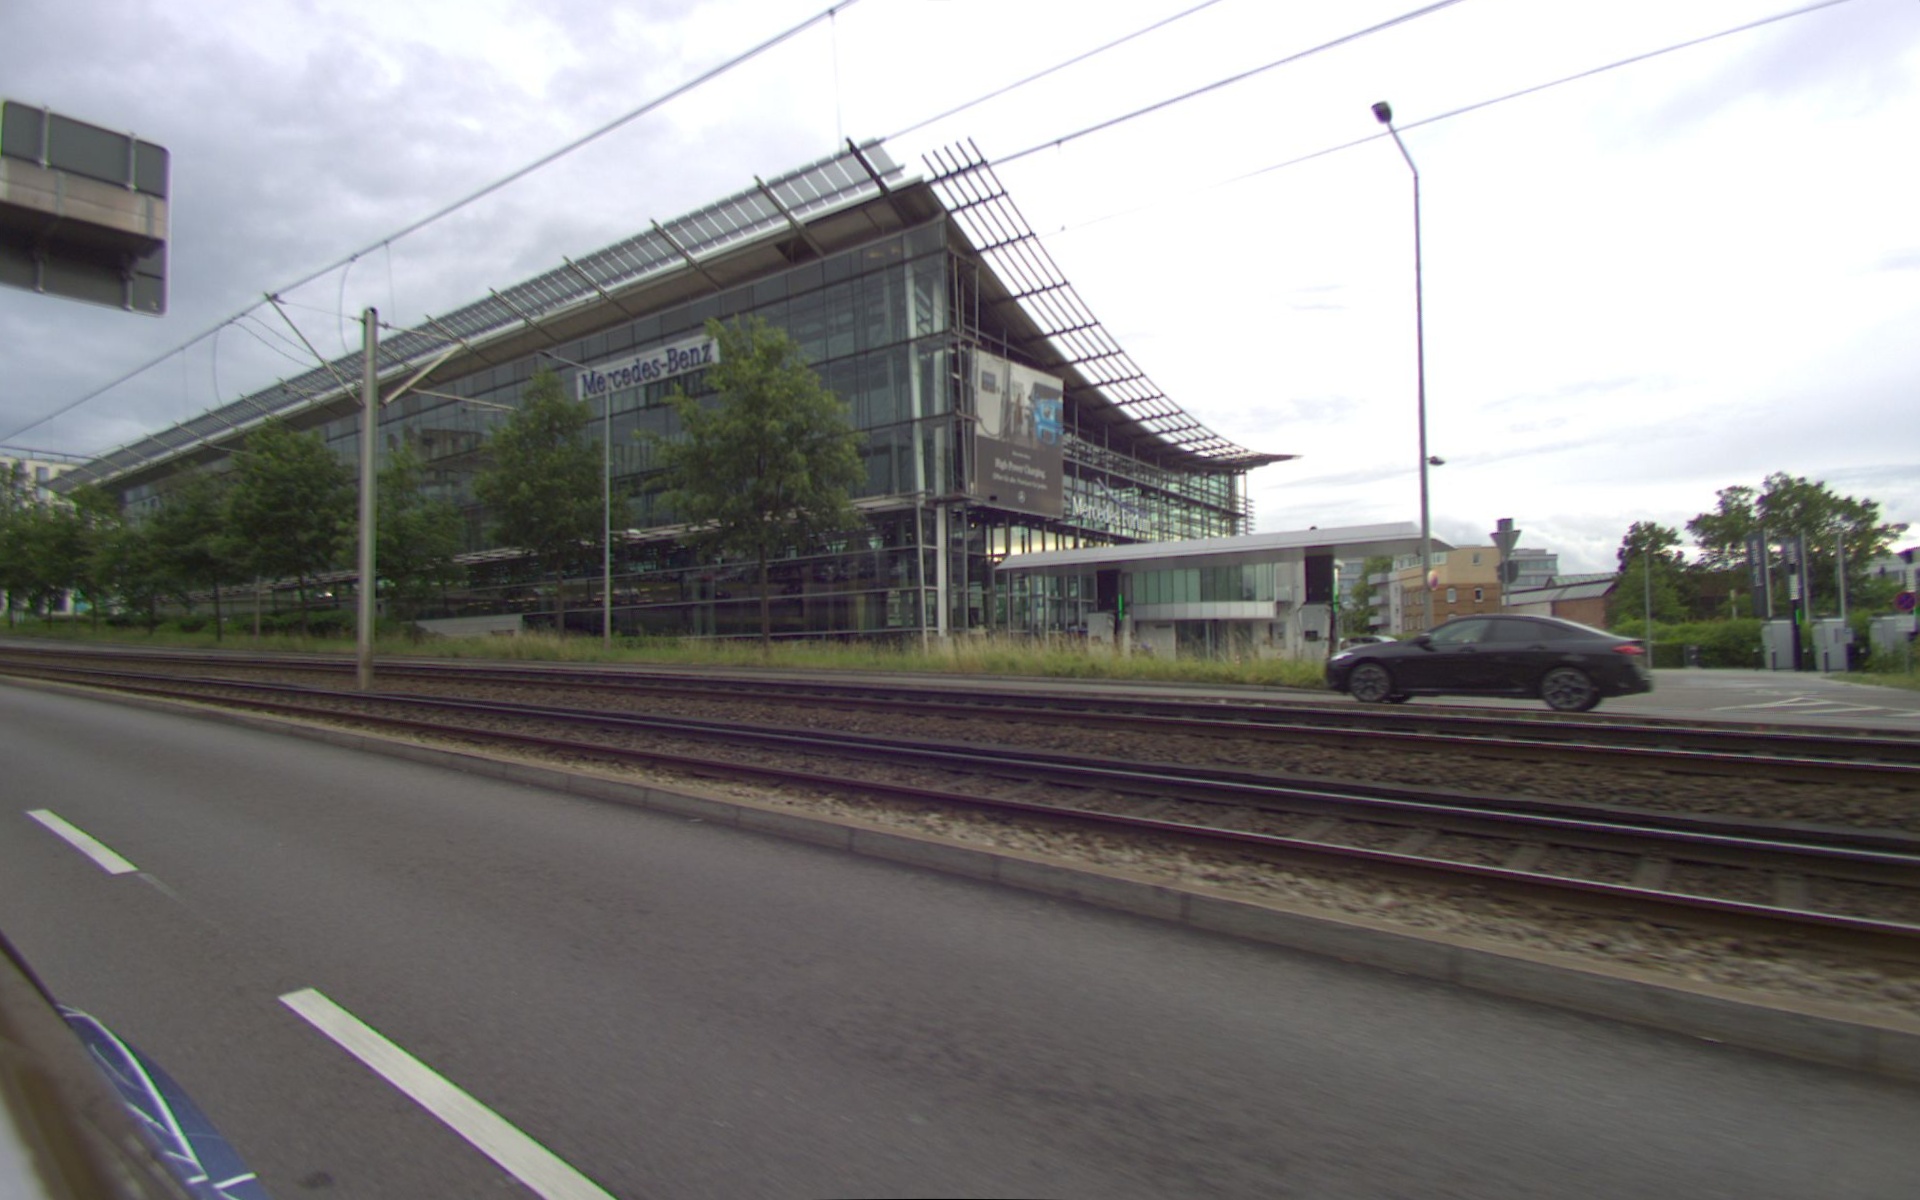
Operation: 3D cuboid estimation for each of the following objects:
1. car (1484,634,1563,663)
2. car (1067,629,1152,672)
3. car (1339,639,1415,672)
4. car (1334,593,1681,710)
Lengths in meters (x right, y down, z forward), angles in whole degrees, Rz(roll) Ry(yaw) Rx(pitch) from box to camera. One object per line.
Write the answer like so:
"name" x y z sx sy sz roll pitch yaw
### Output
"car" 36.229 3.112 65.131 3.953 1.741 1.995 0 0 8
"car" 7.128 2.386 48.396 3.954 1.864 1.890 0 0 9
"car" 24.364 3.214 59.178 1.756 1.723 3.752 0 0 -43
"car" 8.197 0.781 15.365 4.396 1.532 1.865 -1 -5 38
